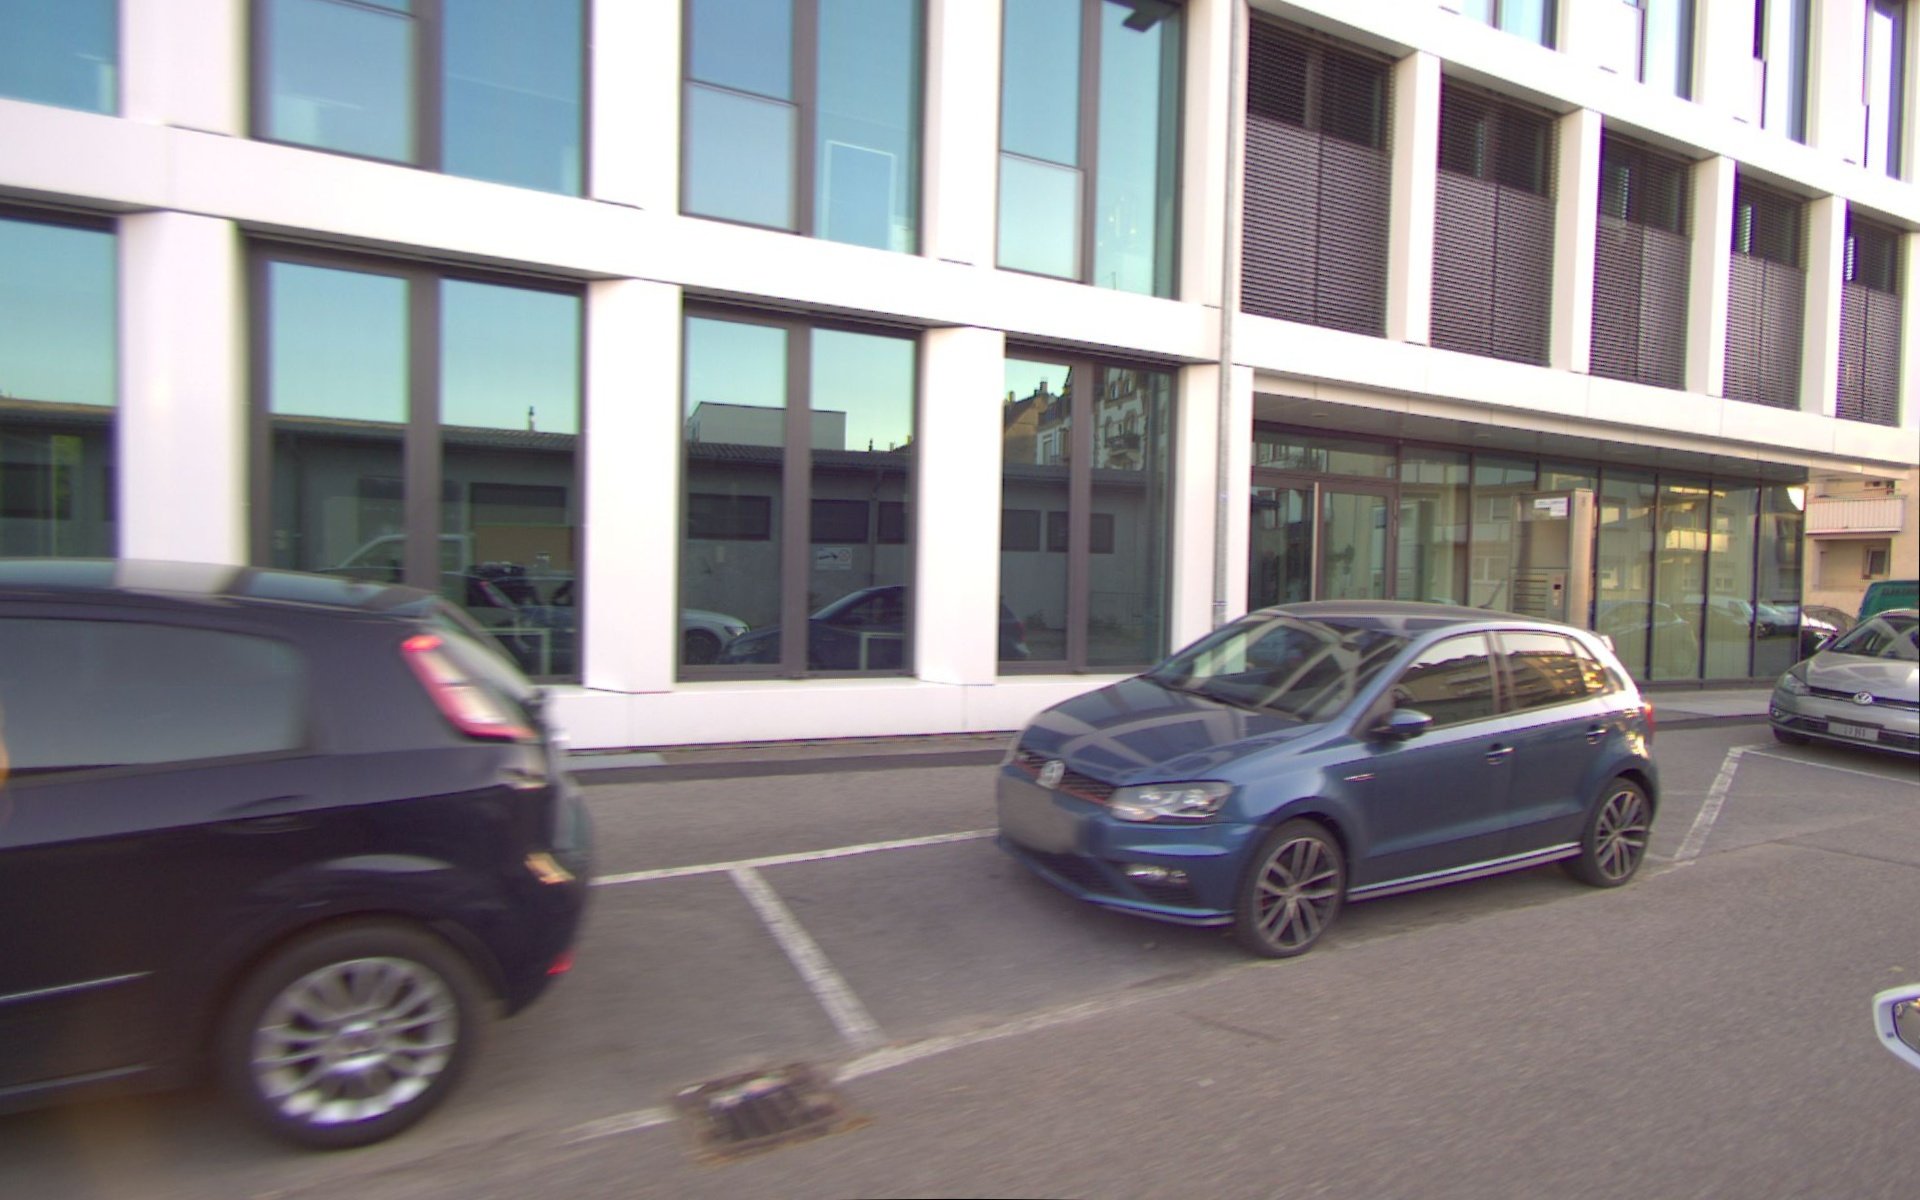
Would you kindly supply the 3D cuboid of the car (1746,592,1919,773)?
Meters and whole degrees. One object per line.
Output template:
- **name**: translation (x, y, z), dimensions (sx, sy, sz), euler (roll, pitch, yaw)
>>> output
- **car**: translation (10.096, 0.762, 10.327), dimensions (4.136, 1.499, 1.701), euler (1, 5, -31)

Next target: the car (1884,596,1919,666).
- **car**: translation (25.404, 0.808, 24.397), dimensions (1.857, 1.640, 3.989), euler (-4, 3, -29)

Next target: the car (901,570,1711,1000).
- **car**: translation (1.923, 0.676, 5.315), dimensions (4.133, 1.458, 1.640), euler (1, 5, -29)

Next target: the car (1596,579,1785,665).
- **car**: translation (16.606, 0.509, 22.811), dimensions (4.277, 1.681, 1.722), euler (3, 0, -28)

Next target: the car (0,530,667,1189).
- **car**: translation (-3.082, 0.556, 2.729), dimensions (4.147, 1.458, 1.641), euler (1, 5, -27)

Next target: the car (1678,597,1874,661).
- **car**: translation (23.185, 0.758, 28.686), dimensions (1.860, 1.521, 3.983), euler (-4, 4, -33)

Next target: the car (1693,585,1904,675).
- **car**: translation (17.145, 0.625, 20.511), dimensions (4.277, 1.570, 1.772), euler (3, 0, -28)

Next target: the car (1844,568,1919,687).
- **car**: translation (18.177, 0.459, 18.148), dimensions (4.631, 2.006, 1.790), euler (0, 2, -29)
